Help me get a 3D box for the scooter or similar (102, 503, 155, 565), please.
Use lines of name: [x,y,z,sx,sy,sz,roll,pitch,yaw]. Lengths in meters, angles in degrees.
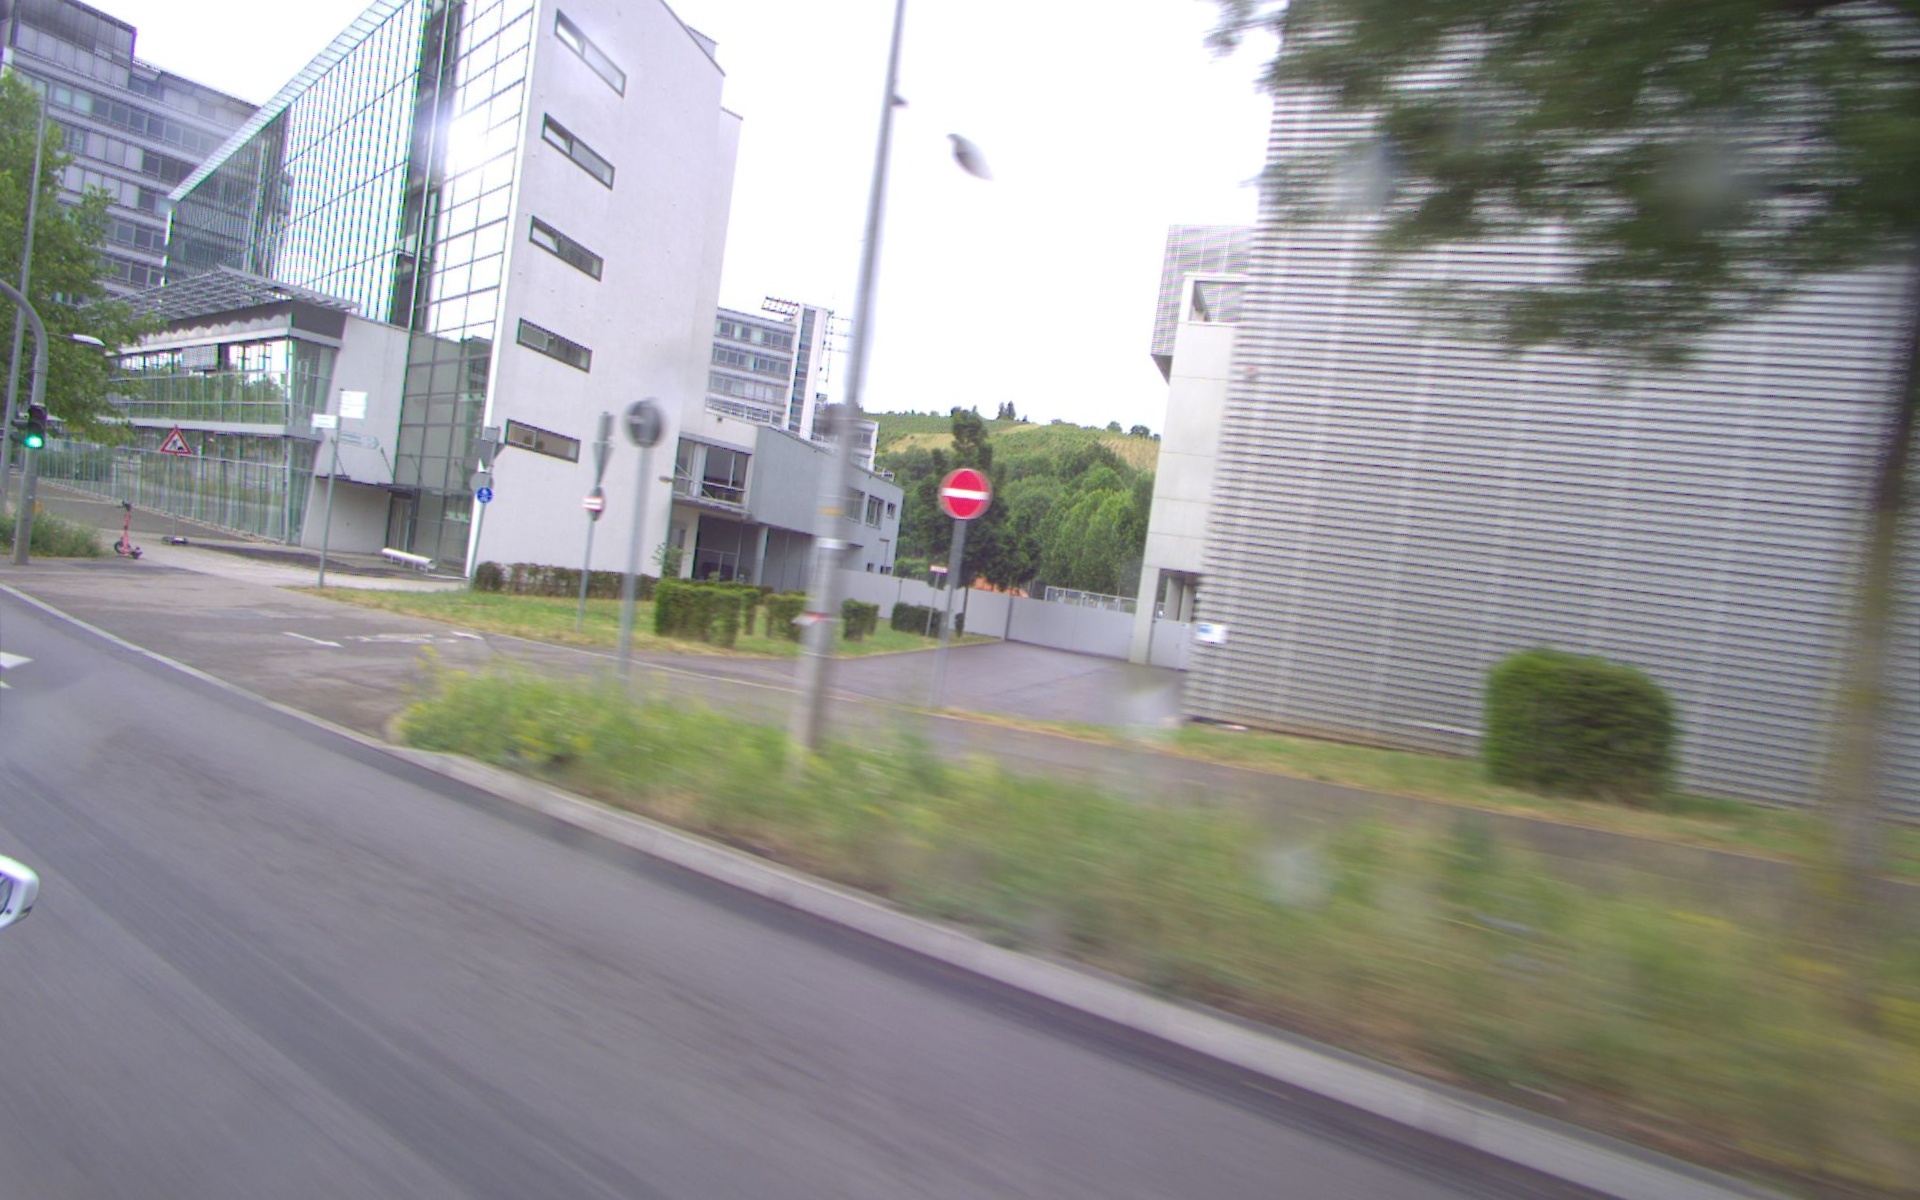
scooter or similar: [-19.138,-1.522,23.143,1.314,1.280,0.458,7,3,30]
